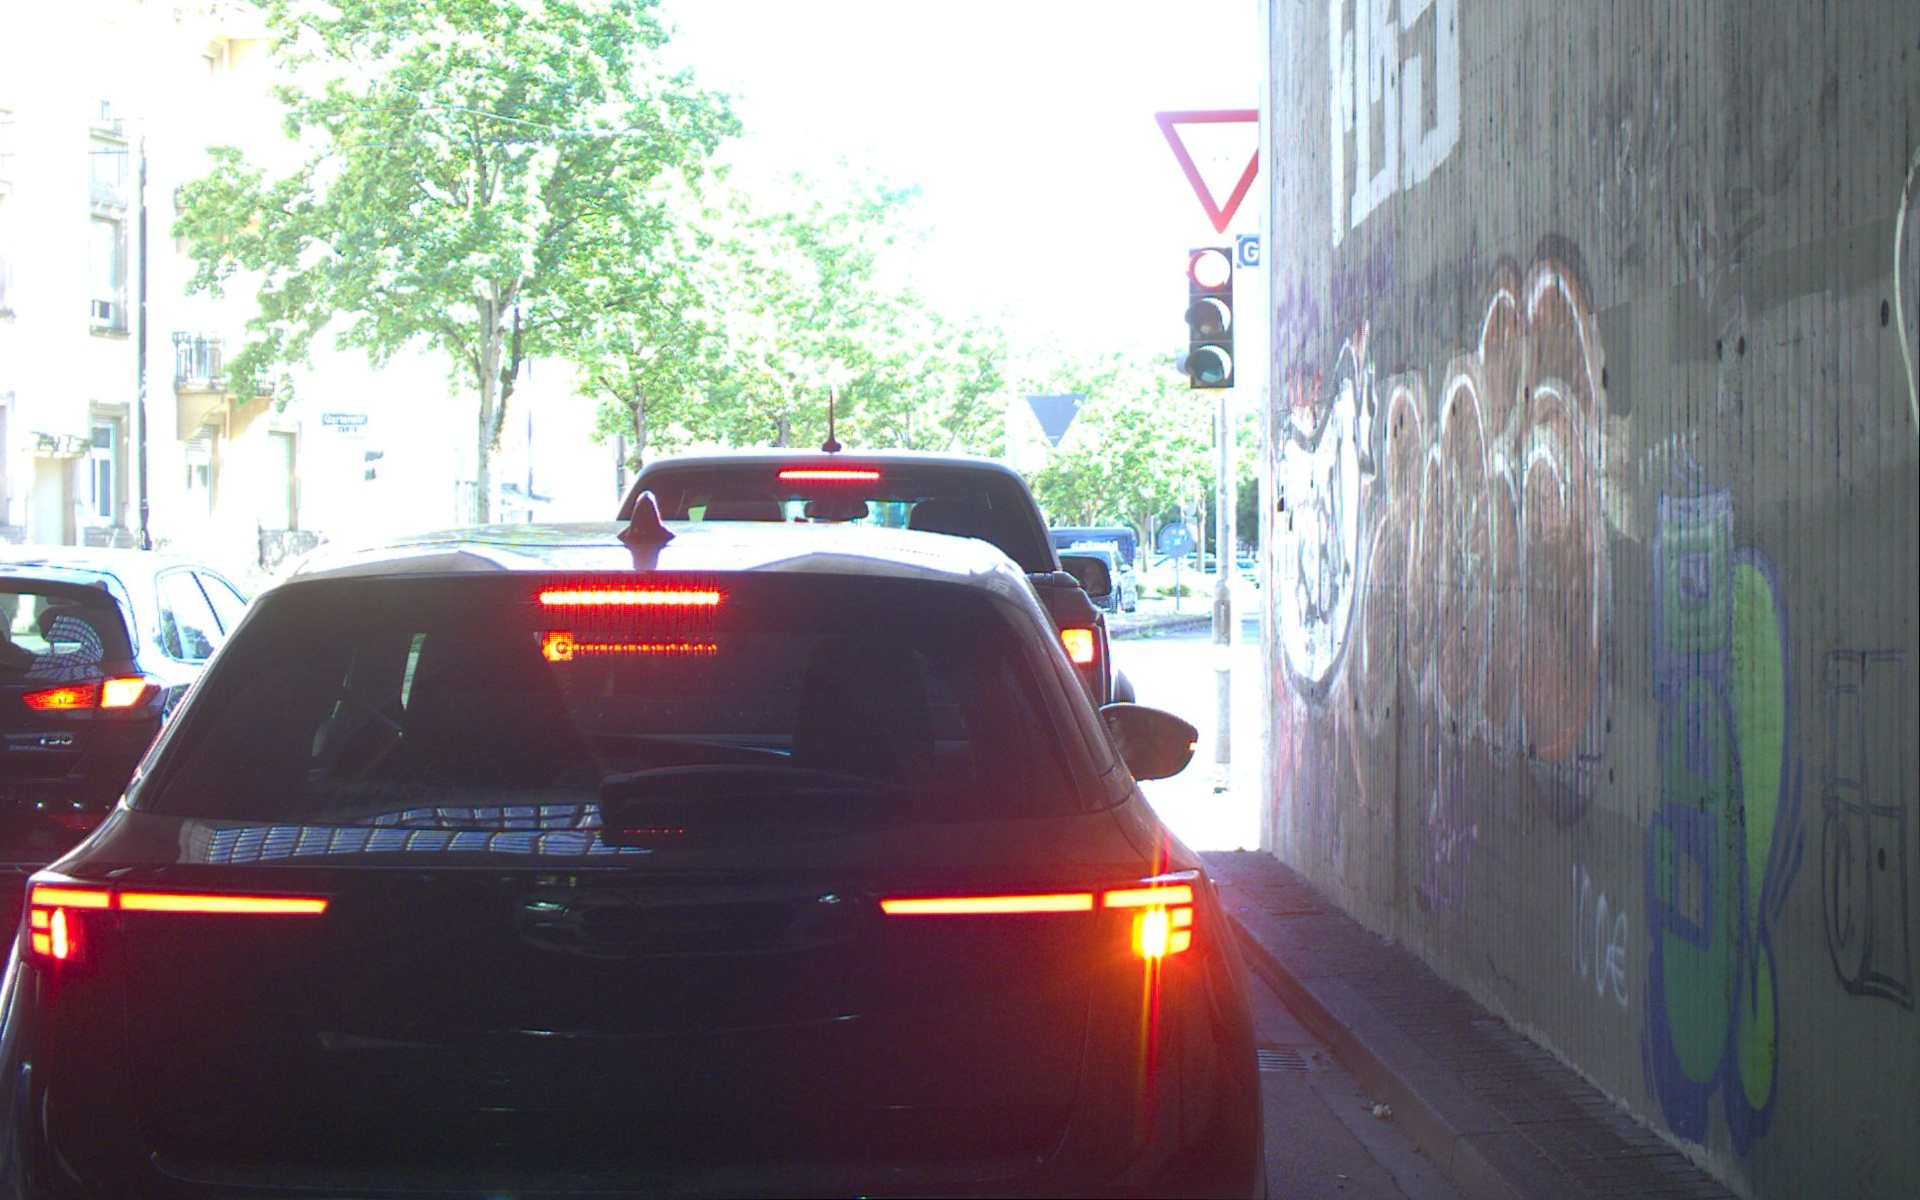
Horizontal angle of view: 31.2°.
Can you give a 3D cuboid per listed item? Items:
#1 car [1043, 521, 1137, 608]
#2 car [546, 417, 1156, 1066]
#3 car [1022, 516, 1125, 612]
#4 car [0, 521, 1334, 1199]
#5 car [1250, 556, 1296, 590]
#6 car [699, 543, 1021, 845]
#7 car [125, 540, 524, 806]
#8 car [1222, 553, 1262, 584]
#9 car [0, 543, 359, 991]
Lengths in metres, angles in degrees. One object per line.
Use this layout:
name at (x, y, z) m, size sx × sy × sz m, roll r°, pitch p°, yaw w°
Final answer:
car at (2.603, -0.701, 68.294) m, size 1.754 × 1.661 × 3.944 m, roll 1°, pitch 1°, yaw 3°
car at (-0.340, 0.377, 12.020) m, size 1.762 × 1.876 × 4.146 m, roll 0°, pitch 1°, yaw -1°
car at (2.083, -0.647, 62.175) m, size 1.754 × 1.661 × 3.944 m, roll 1°, pitch 1°, yaw 3°
car at (-0.468, 0.639, 6.079) m, size 1.762 × 1.526 × 4.089 m, roll 0°, pitch 1°, yaw -1°
car at (15.769, -1.377, 173.022) m, size 1.818 × 1.661 × 4.813 m, roll 1°, pitch 1°, yaw 11°
car at (-0.525, 0.439, 19.240) m, size 1.609 × 1.508 × 4.054 m, roll 0°, pitch 1°, yaw -1°
car at (-3.768, 0.374, 20.991) m, size 1.762 × 1.475 × 3.844 m, roll 0°, pitch 1°, yaw -1°
car at (15.369, -1.705, 187.213) m, size 1.754 × 1.661 × 3.943 m, roll 1°, pitch 1°, yaw 11°
car at (-3.517, 0.520, 13.267) m, size 1.762 × 1.475 × 3.844 m, roll 0°, pitch 1°, yaw -1°
